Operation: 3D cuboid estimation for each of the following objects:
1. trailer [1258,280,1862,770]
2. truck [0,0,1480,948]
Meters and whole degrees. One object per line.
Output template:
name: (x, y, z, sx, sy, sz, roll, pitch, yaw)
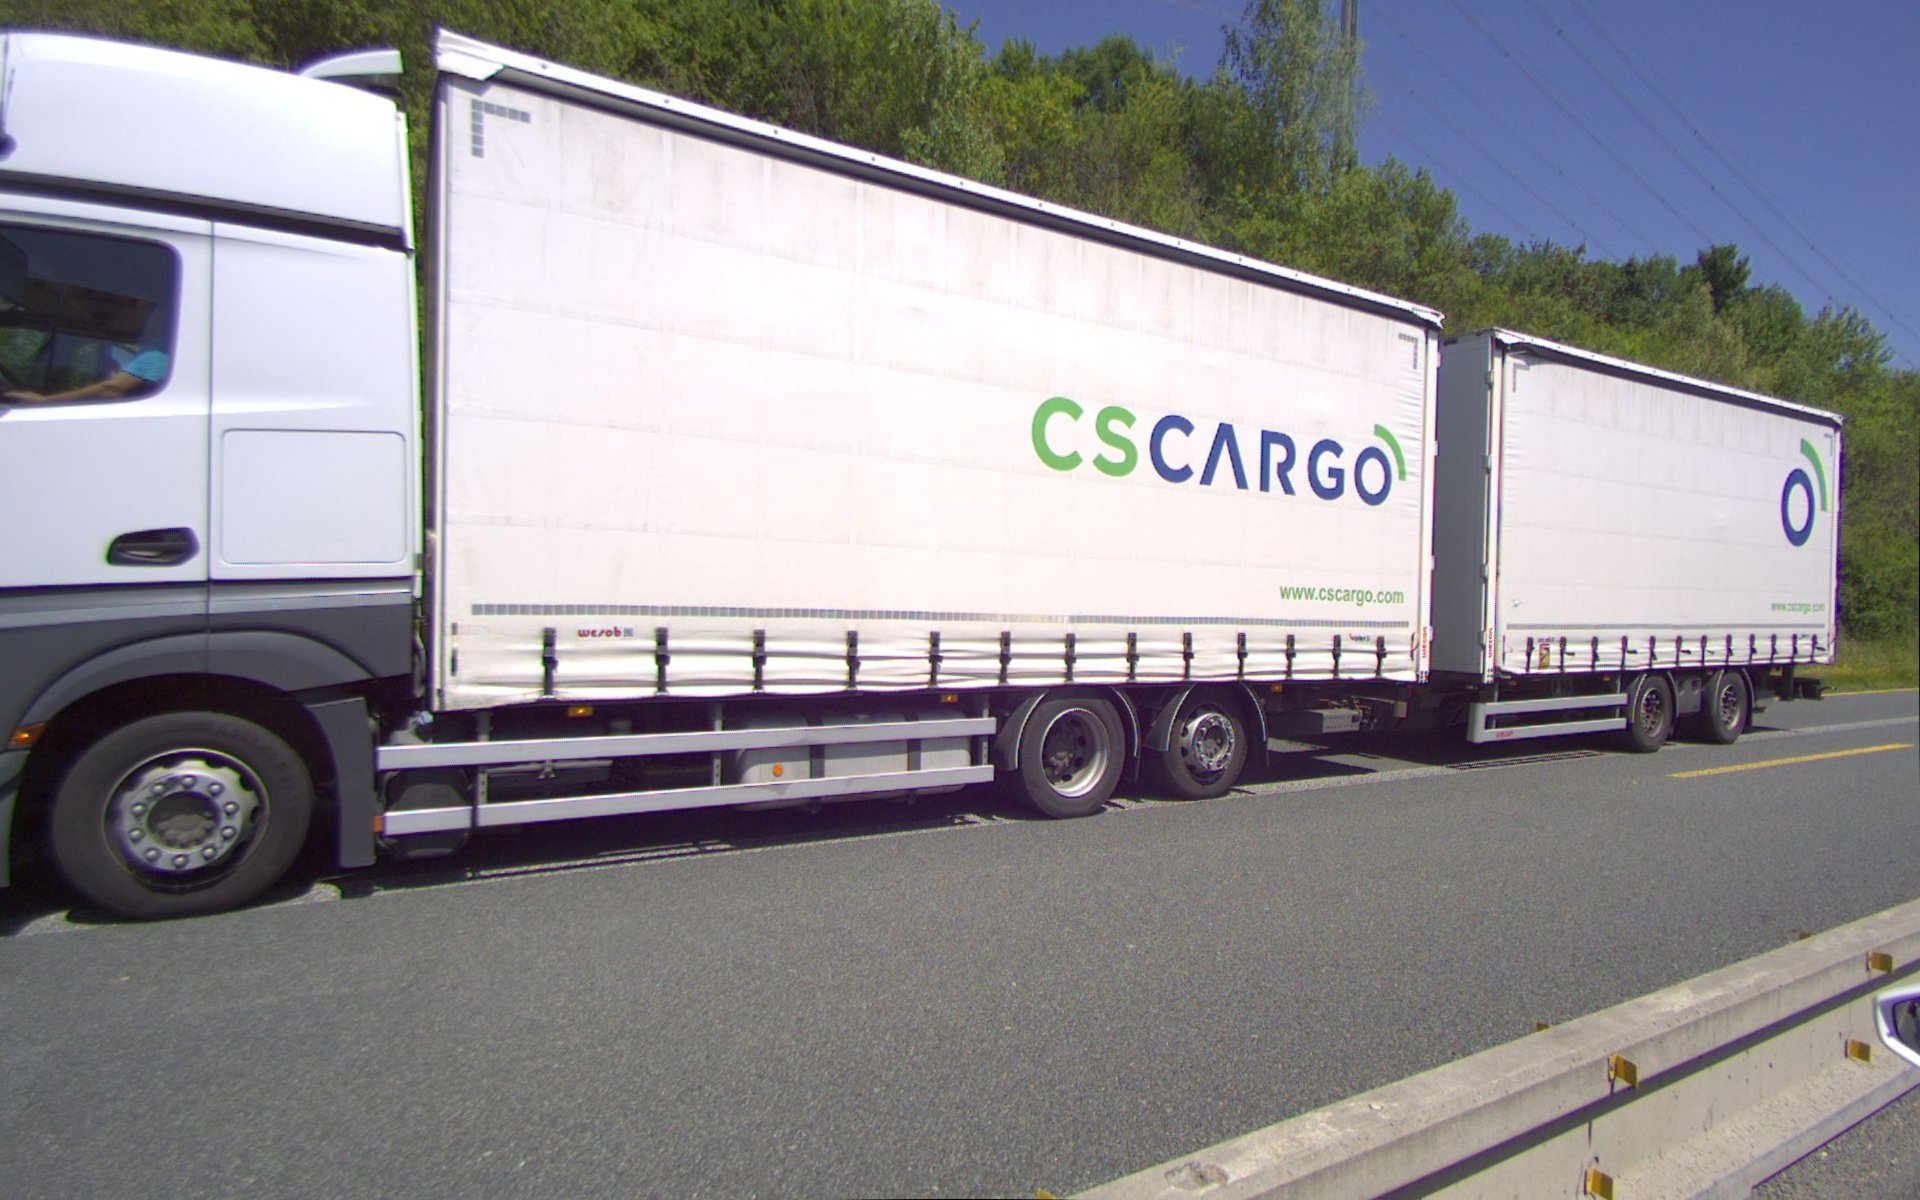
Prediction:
trailer: (7.635, -0.621, 12.279, 8.351, 4.370, 2.624, 1, 1, -31)
truck: (-0.419, -0.611, 7.312, 10.234, 4.046, 2.397, 1, 1, -31)
